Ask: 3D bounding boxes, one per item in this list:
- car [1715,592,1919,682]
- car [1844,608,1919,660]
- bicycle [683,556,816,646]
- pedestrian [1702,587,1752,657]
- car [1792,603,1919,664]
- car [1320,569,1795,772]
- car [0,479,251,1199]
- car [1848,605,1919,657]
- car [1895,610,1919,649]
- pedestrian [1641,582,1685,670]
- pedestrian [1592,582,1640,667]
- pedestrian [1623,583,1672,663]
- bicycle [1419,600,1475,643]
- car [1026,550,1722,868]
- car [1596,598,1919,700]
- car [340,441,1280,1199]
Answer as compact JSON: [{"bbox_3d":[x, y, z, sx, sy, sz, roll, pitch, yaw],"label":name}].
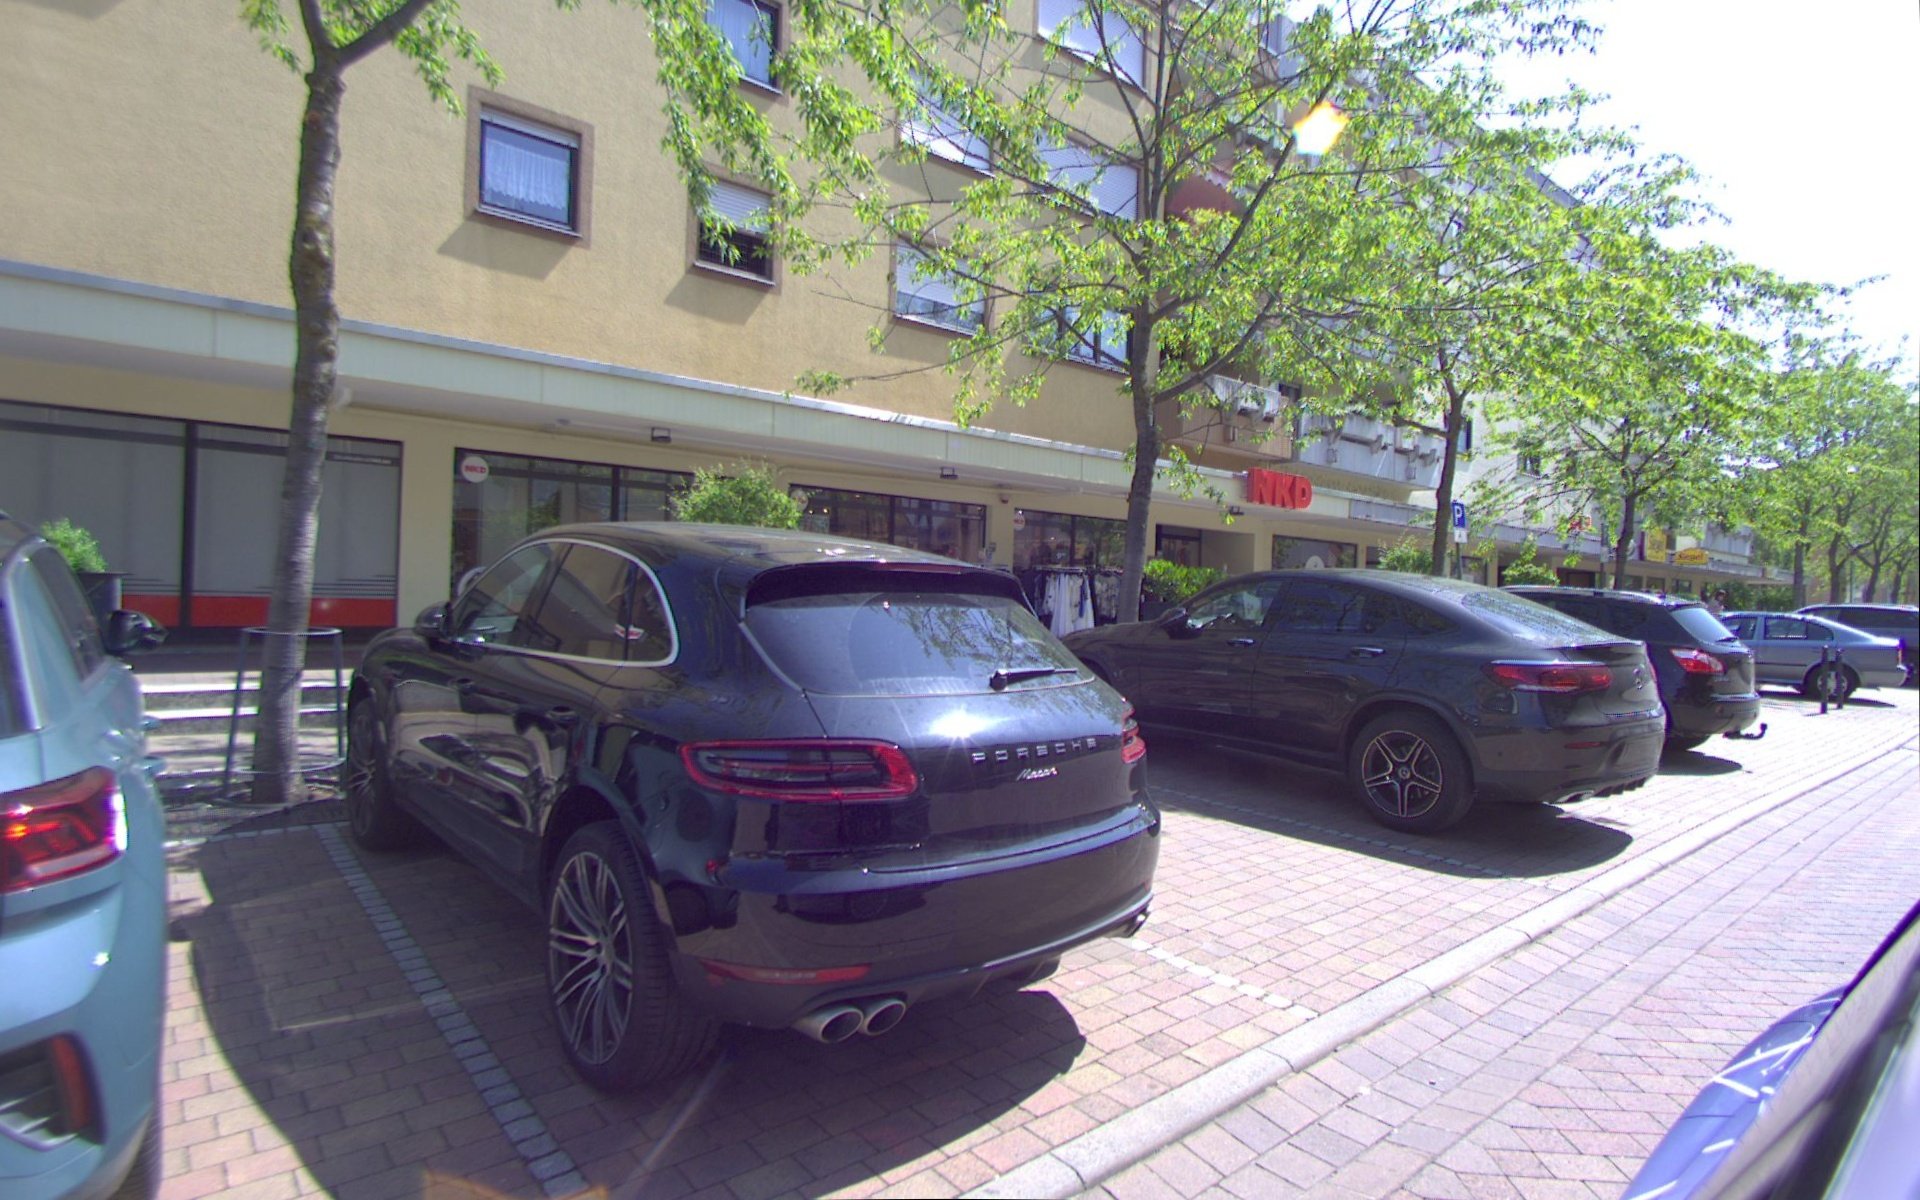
[{"bbox_3d":[19.018,0.760,21.681,1.726,1.638,4.252,2,2,-41],"label":"car"},{"bbox_3d":[29.401,1.094,30.582,1.585,1.449,3.801,1,2,-39],"label":"car"},{"bbox_3d":[-2.784,0.018,13.501,1.742,1.138,0.413,0,0,-39],"label":"bicycle"},{"bbox_3d":[20.143,0.572,26.590,0.853,1.803,0.760,1,1,-33],"label":"pedestrian"},{"bbox_3d":[27.231,0.990,29.280,1.774,1.562,4.586,1,2,-39],"label":"car"},{"bbox_3d":[6.191,0.577,10.906,1.651,1.631,4.038,1,3,-39],"label":"car"},{"bbox_3d":[-3.227,0.460,2.688,1.792,1.552,3.953,1,3,-41],"label":"car"},{"bbox_3d":[31.102,1.049,32.472,1.604,1.536,3.652,1,2,-39],"label":"car"},{"bbox_3d":[36.820,1.179,37.185,1.434,1.407,3.401,1,2,-39],"label":"car"},{"bbox_3d":[14.874,0.547,21.430,0.599,1.819,0.623,1,0,22],"label":"pedestrian"},{"bbox_3d":[14.064,0.515,21.714,0.622,1.795,0.684,1,0,12],"label":"pedestrian"},{"bbox_3d":[15.307,0.510,22.544,0.635,1.752,0.617,1,0,-6],"label":"pedestrian"},{"bbox_3d":[12.933,0.563,26.857,1.833,1.095,0.642,0,0,-41],"label":"bicycle"},{"bbox_3d":[2.706,0.501,7.652,1.816,1.608,4.522,2,2,-38],"label":"car"},{"bbox_3d":[14.073,0.787,18.152,4.350,1.481,1.871,3,1,30],"label":"car"},{"bbox_3d":[-1.089,0.430,4.385,1.966,1.701,4.286,1,2,-42],"label":"car"}]
